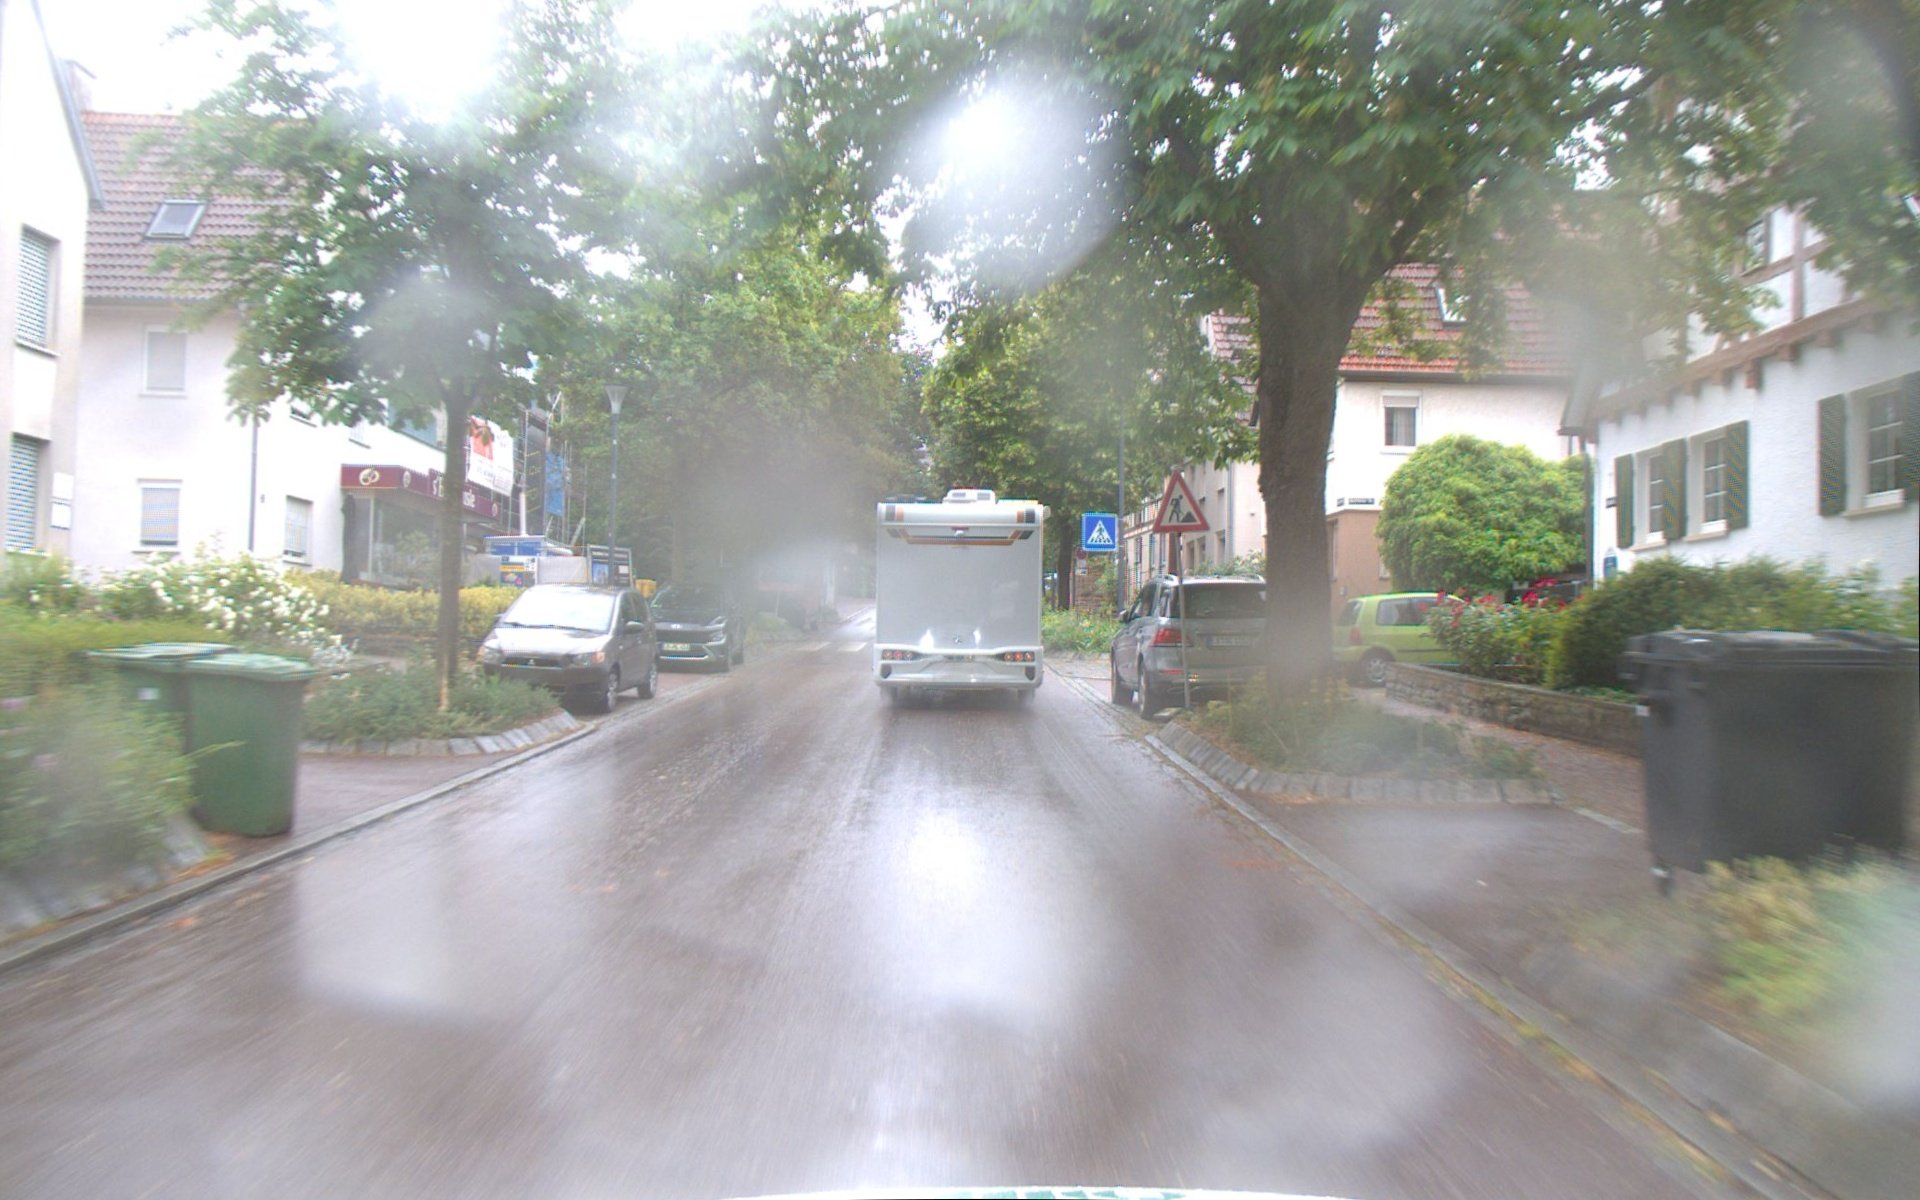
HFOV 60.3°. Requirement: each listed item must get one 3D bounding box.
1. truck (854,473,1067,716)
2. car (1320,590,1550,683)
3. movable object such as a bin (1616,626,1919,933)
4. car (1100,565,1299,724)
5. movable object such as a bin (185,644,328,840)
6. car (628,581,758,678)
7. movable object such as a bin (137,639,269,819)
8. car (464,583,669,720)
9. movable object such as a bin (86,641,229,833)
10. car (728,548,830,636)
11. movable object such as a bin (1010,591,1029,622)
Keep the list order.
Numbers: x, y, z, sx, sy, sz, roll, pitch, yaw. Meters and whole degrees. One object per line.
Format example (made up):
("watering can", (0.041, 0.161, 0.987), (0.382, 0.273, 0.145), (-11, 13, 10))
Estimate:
("truck", (-0.014, -0.065, 24.193), (2.639, 3.038, 6.236), (1, 0, -1))
("car", (7.793, 0.573, 27.285), (3.298, 1.455, 1.629), (-1, 0, -4))
("movable object such as a bin", (3.949, 0.804, 7.906), (1.199, 1.338, 1.134), (0, 0, 2))
("car", (2.994, 0.518, 21.630), (1.875, 1.823, 4.488), (1, 0, -1))
("movable object such as a bin", (-4.274, 0.849, 10.074), (0.629, 1.130, 0.536), (0, 0, 1))
("car", (-4.873, 0.490, 30.699), (1.735, 1.580, 4.000), (3, 1, -1))
("movable object such as a bin", (-4.989, 0.837, 10.927), (0.598, 1.130, 0.564), (0, 1, 1))
("car", (-5.004, 0.594, 21.548), (1.613, 1.560, 3.866), (2, 0, 1))
("movable object such as a bin", (-4.962, 0.834, 10.254), (0.598, 1.130, 0.564), (0, 1, 1))
("car", (-5.497, -0.293, 50.948), (2.255, 2.526, 5.787), (1, 1, 2))
("movable object such as a bin", (2.357, 0.251, 65.272), (0.706, 1.234, 0.727), (1, 0, 0))
